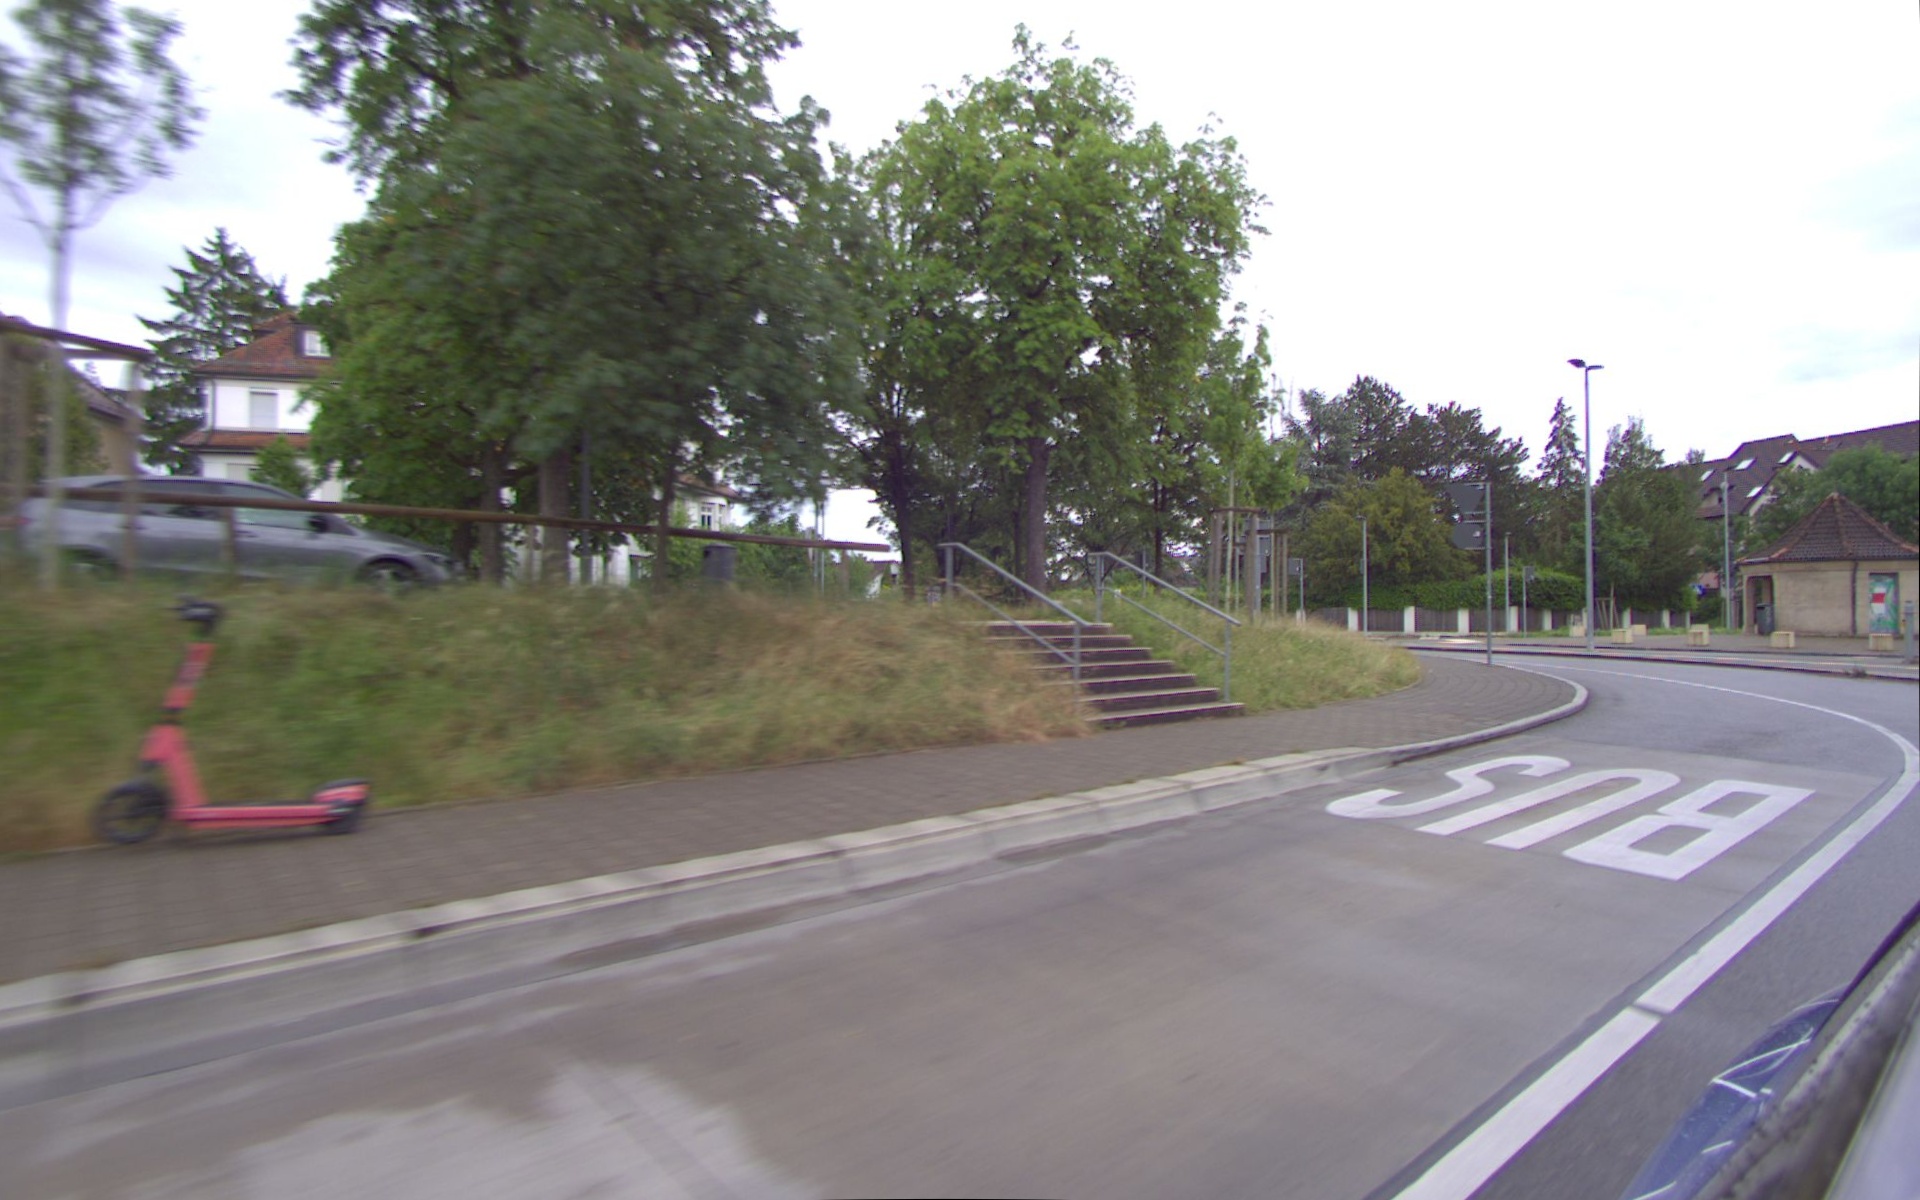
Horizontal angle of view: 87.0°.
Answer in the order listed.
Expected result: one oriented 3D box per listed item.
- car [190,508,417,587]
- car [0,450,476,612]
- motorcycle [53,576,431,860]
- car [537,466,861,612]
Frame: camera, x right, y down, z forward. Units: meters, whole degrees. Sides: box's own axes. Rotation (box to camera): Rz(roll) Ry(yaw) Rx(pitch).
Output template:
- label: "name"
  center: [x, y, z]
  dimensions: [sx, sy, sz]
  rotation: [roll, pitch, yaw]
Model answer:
- label: "car"
  center: [-14.256, -1.097, 22.121]
  dimensions: [3.992, 1.499, 1.891]
  rotation: [-1, -1, -35]
- label: "car"
  center: [-8.072, -0.689, 11.705]
  dimensions: [4.202, 1.499, 2.000]
  rotation: [-1, -2, -34]
- label: "motorcycle"
  center: [-3.611, 0.540, 5.244]
  dimensions: [1.506, 1.305, 0.592]
  rotation: [0, 0, -25]
- label: "car"
  center: [-3.606, -0.723, 14.141]
  dimensions: [3.924, 1.684, 1.999]
  rotation: [0, -3, -35]
